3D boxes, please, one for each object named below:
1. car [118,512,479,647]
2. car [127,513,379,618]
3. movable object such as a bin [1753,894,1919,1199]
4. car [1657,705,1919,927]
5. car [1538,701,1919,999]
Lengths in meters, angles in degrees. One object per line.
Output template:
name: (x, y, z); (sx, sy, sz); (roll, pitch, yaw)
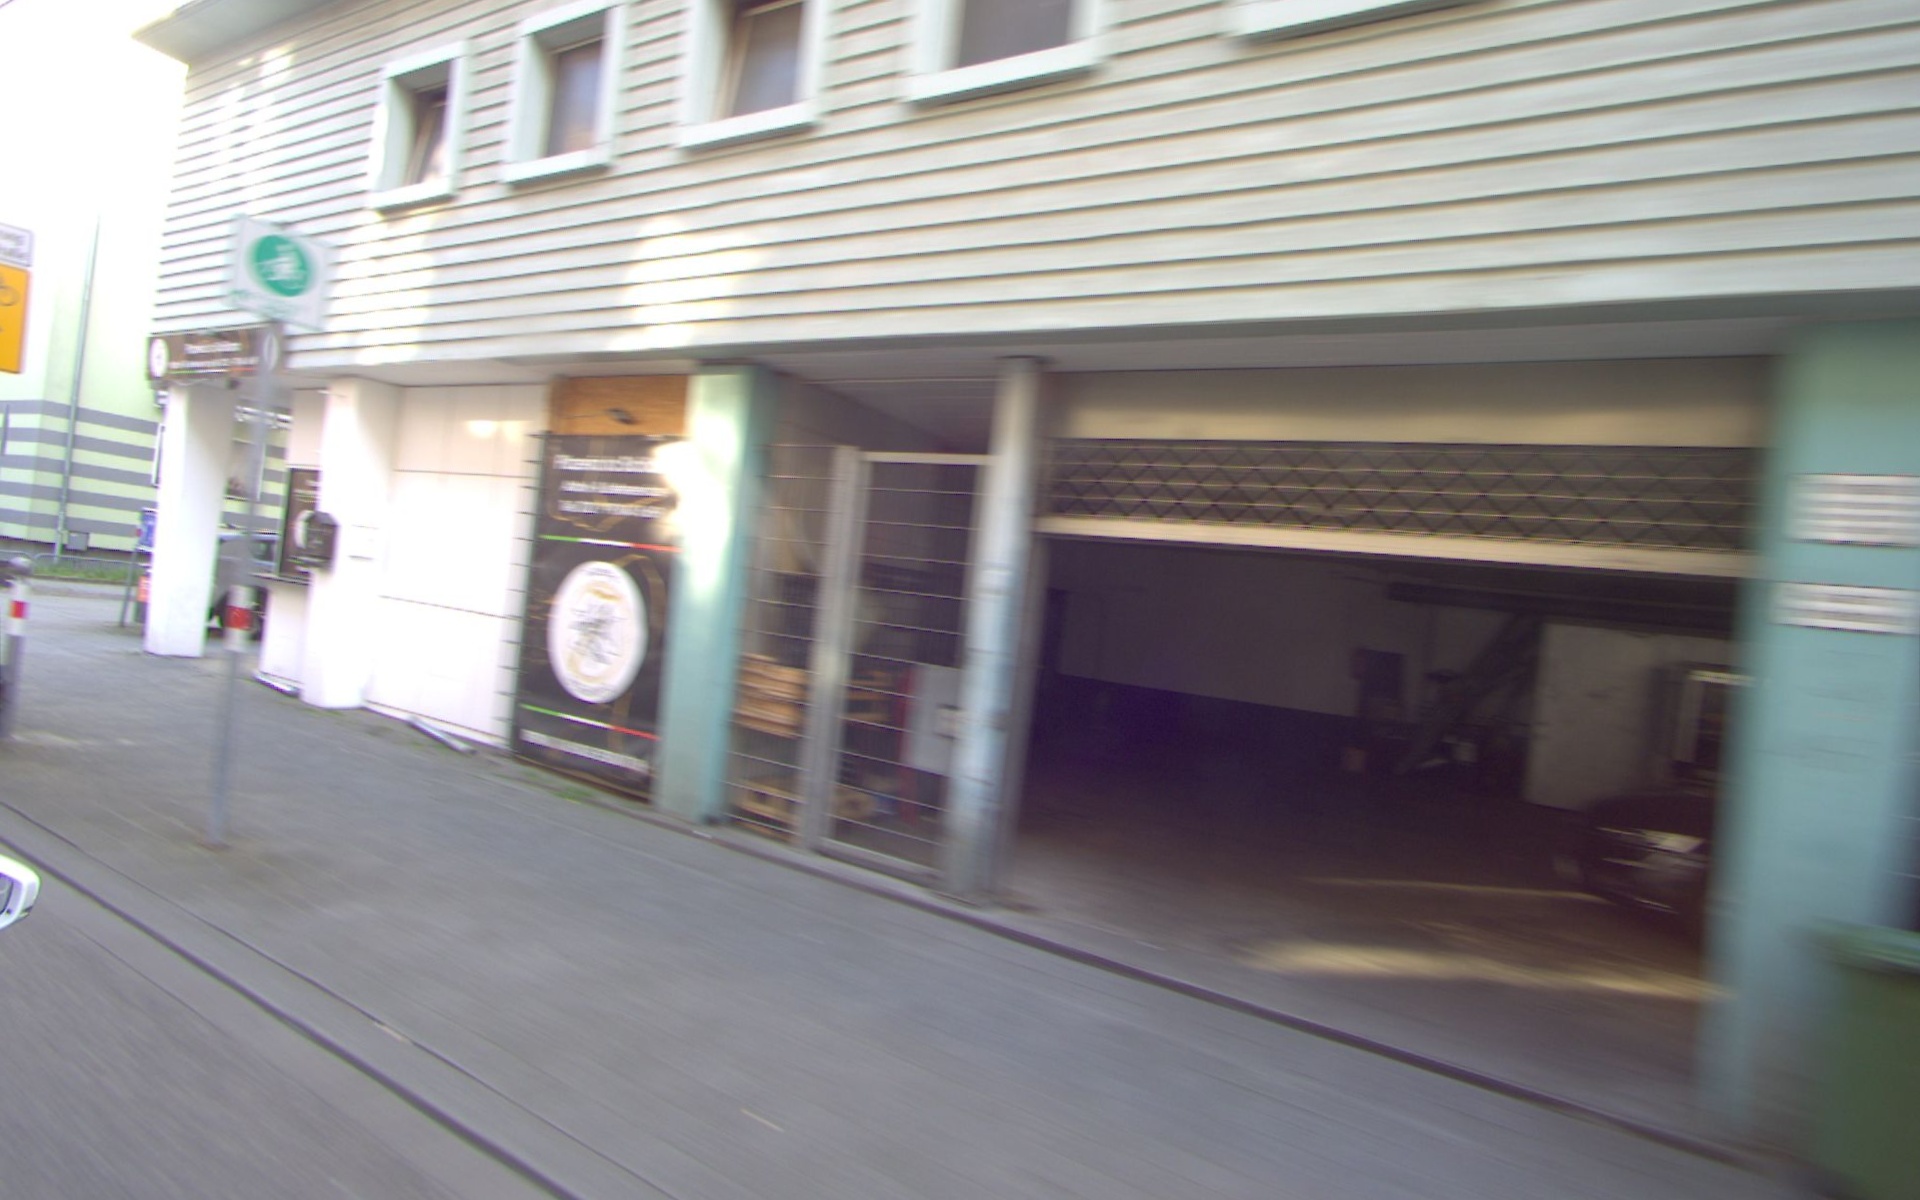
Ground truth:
car: (-9.766, -0.218, 15.203); (1.834, 1.499, 4.086); (6, -1, 30)
car: (-13.701, -0.613, 19.698); (1.680, 1.499, 3.552); (6, -2, 31)
movable object such as a bin: (2.968, 1.513, 3.255); (0.514, 0.910, 0.557); (4, 0, 32)
car: (8.159, 1.911, 8.583); (3.340, 1.487, 1.585); (7, 0, 29)
car: (6.267, 1.659, 6.501); (4.207, 1.451, 1.830); (5, 0, 28)
